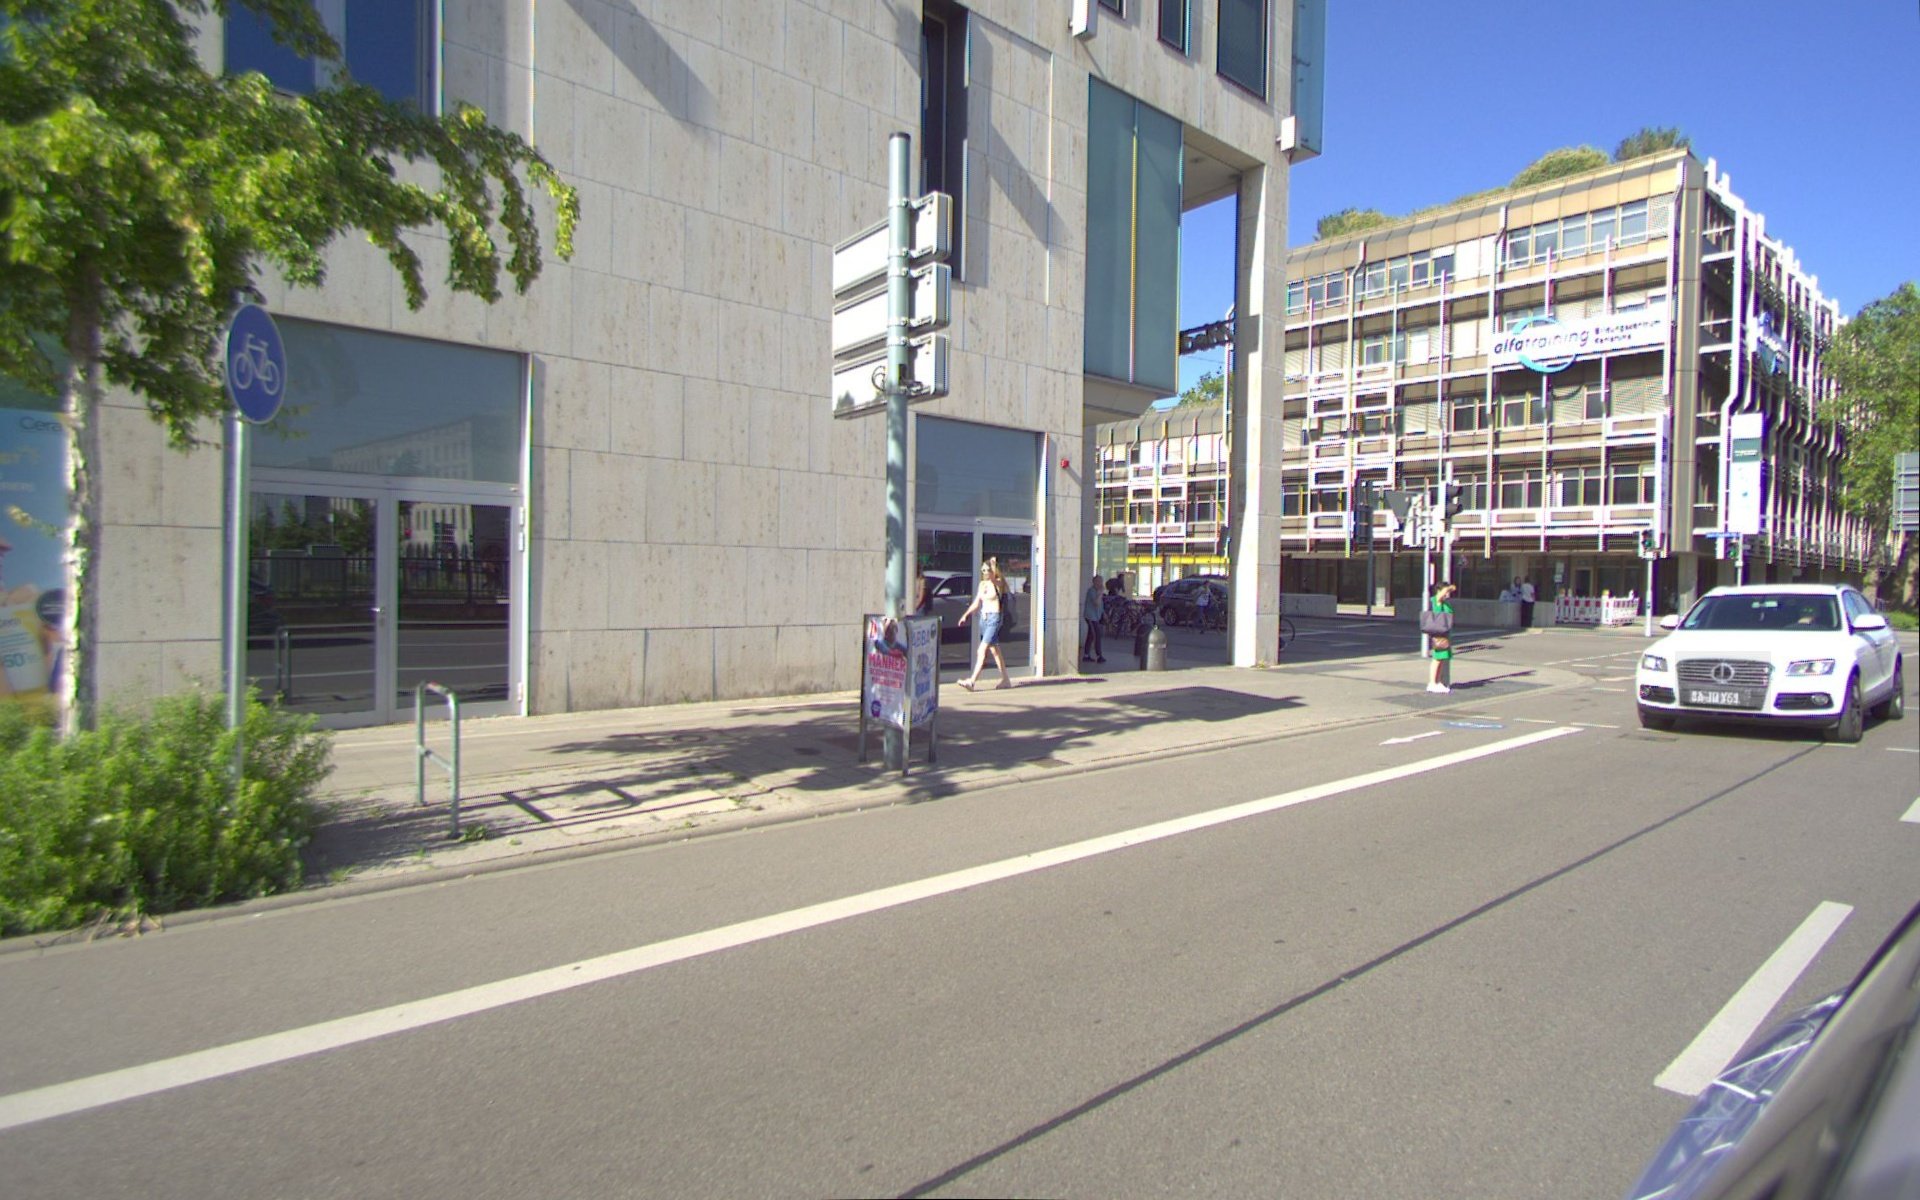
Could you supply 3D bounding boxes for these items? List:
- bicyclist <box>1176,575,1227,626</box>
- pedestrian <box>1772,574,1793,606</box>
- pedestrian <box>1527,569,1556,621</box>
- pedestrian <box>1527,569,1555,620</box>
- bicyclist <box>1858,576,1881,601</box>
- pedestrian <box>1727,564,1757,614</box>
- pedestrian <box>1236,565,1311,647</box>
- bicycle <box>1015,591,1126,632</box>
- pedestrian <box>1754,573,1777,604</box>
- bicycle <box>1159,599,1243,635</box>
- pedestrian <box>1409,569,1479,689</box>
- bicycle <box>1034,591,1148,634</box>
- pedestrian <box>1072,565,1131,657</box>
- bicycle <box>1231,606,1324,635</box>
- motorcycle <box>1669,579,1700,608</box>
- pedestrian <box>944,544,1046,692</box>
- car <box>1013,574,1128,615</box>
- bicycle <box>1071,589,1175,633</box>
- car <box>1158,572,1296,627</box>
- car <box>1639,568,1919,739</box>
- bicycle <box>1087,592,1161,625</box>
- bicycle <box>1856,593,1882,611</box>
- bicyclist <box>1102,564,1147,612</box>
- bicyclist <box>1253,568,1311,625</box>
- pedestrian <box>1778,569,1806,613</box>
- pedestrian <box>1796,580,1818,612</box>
[{"bbox_3d":[6.991,0.004,29.305,1.056,1.413,0.936,0,1,-37],"label":"bicyclist"},{"bbox_3d":[43.204,-0.530,53.146,0.715,1.620,0.668,0,3,-40],"label":"pedestrian"},{"bbox_3d":[18.740,-0.180,32.632,0.659,1.632,0.519,4,3,41],"label":"pedestrian"},{"bbox_3d":[19.060,-0.179,33.199,0.659,1.632,0.519,4,3,41],"label":"pedestrian"},{"bbox_3d":[54.027,-0.677,60.139,0.868,1.495,0.883,0,1,-40],"label":"bicyclist"},{"bbox_3d":[32.477,-0.470,42.048,0.945,2.039,1.064,2,1,39],"label":"pedestrian"},{"bbox_3d":[7.330,0.113,23.653,1.496,1.823,0.969,0,3,-41],"label":"pedestrian"},{"bbox_3d":[3.237,0.306,29.349,3.434,1.107,1.069,0,1,-39],"label":"bicycle"},{"bbox_3d":[42.725,-0.600,53.691,0.991,1.620,0.668,0,3,-40],"label":"pedestrian"},{"bbox_3d":[6.957,0.472,29.339,1.052,0.955,2.200,0,2,-36],"label":"bicycle"},{"bbox_3d":[7.290,0.421,15.243,0.686,1.723,0.658,0,3,-42],"label":"pedestrian"},{"bbox_3d":[3.701,0.316,28.219,3.434,1.107,1.069,0,1,-39],"label":"bicycle"},{"bbox_3d":[2.580,0.183,18.461,0.736,1.628,0.725,1,1,-39],"label":"pedestrian"},{"bbox_3d":[8.561,0.542,27.396,1.052,0.679,2.200,0,2,-36],"label":"bicycle"},{"bbox_3d":[37.446,-0.357,52.300,2.085,1.459,0.825,0,1,-40],"label":"motorcycle"},{"bbox_3d":[0.457,0.202,13.149,1.047,1.823,0.729,0,3,-41],"label":"pedestrian"},{"bbox_3d":[4.259,-0.268,39.646,1.827,1.438,4.618,-2,3,-37],"label":"car"},{"bbox_3d":[4.426,0.281,27.294,2.937,1.107,1.069,0,1,-39],"label":"bicycle"},{"bbox_3d":[8.746,-0.087,33.403,1.827,1.632,4.197,-2,3,-37],"label":"car"},{"bbox_3d":[9.714,0.509,11.770,4.333,1.634,1.823,0,0,-39],"label":"car"},{"bbox_3d":[5.118,0.250,31.749,1.011,0.944,2.200,0,2,-36],"label":"bicycle"},{"bbox_3d":[54.080,0.119,60.212,2.015,0.997,0.882,0,1,-41],"label":"bicycle"},{"bbox_3d":[5.163,-0.380,31.708,1.021,1.451,0.936,0,1,-37],"label":"bicyclist"},{"bbox_3d":[8.664,-0.107,27.238,1.052,1.494,1.025,0,1,-36],"label":"bicyclist"},{"bbox_3d":[39.186,-0.418,47.688,0.946,2.039,1.063,1,1,42],"label":"pedestrian"},{"bbox_3d":[43.764,-0.200,52.310,0.715,1.620,0.668,0,3,-40],"label":"pedestrian"}]
